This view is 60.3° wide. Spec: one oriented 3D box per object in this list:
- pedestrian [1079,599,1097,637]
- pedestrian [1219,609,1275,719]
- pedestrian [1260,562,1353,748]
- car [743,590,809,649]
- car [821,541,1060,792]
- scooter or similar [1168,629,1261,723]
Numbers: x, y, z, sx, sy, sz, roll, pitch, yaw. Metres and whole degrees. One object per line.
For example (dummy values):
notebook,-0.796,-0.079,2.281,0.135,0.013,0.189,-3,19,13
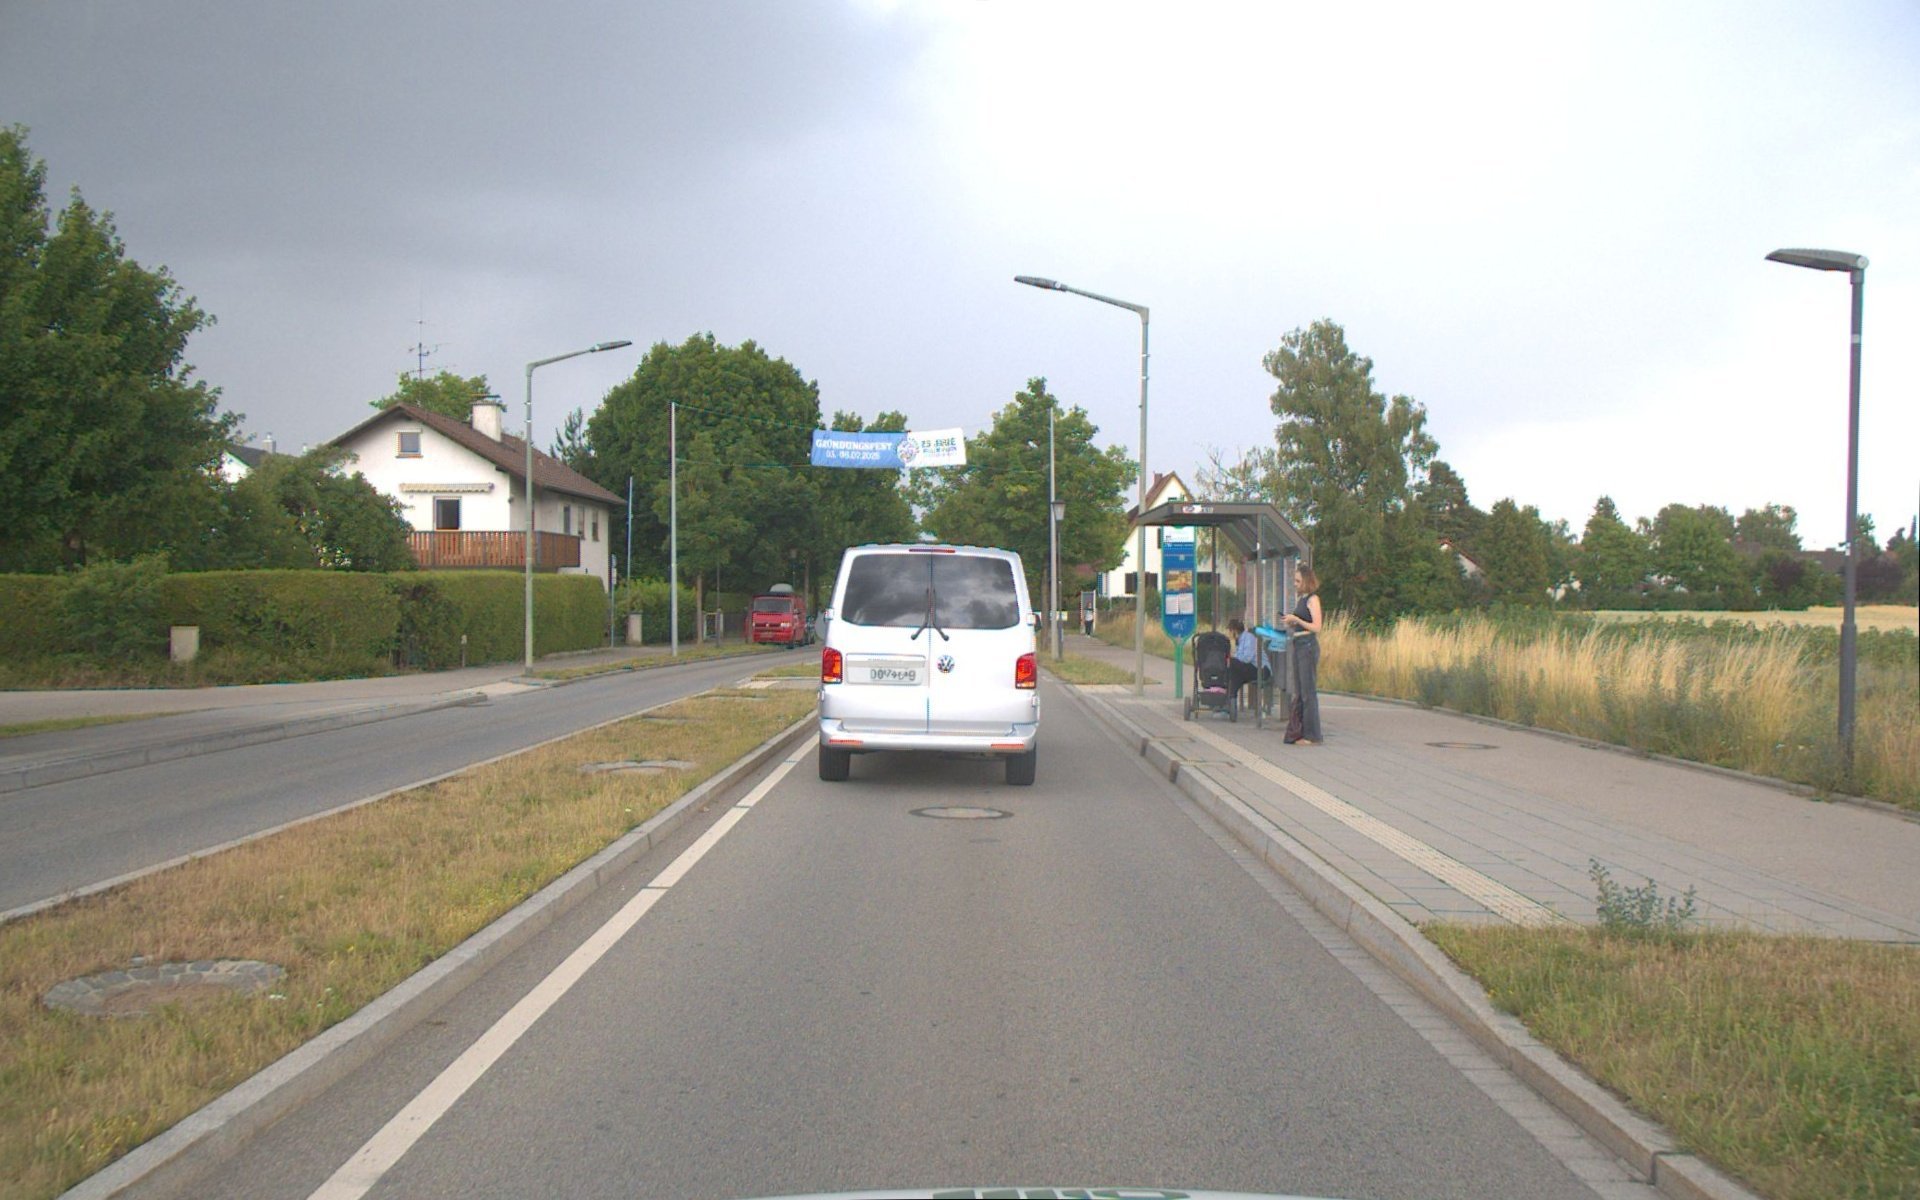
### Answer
pedestrian,6.127,0.869,79.118,0.820,1.785,0.870,1,-1,4
pedestrian,3.576,0.789,20.632,0.650,1.325,0.505,2,-1,9
pedestrian,3.531,0.551,16.908,0.765,1.824,0.779,2,-1,2
car,-6.869,0.709,62.177,1.792,2.066,5.046,2,0,0
car,-0.181,0.545,14.947,1.849,1.945,3.999,1,-1,-1
scooter or similar,3.098,0.913,20.082,0.695,1.080,1.056,1,-1,36
